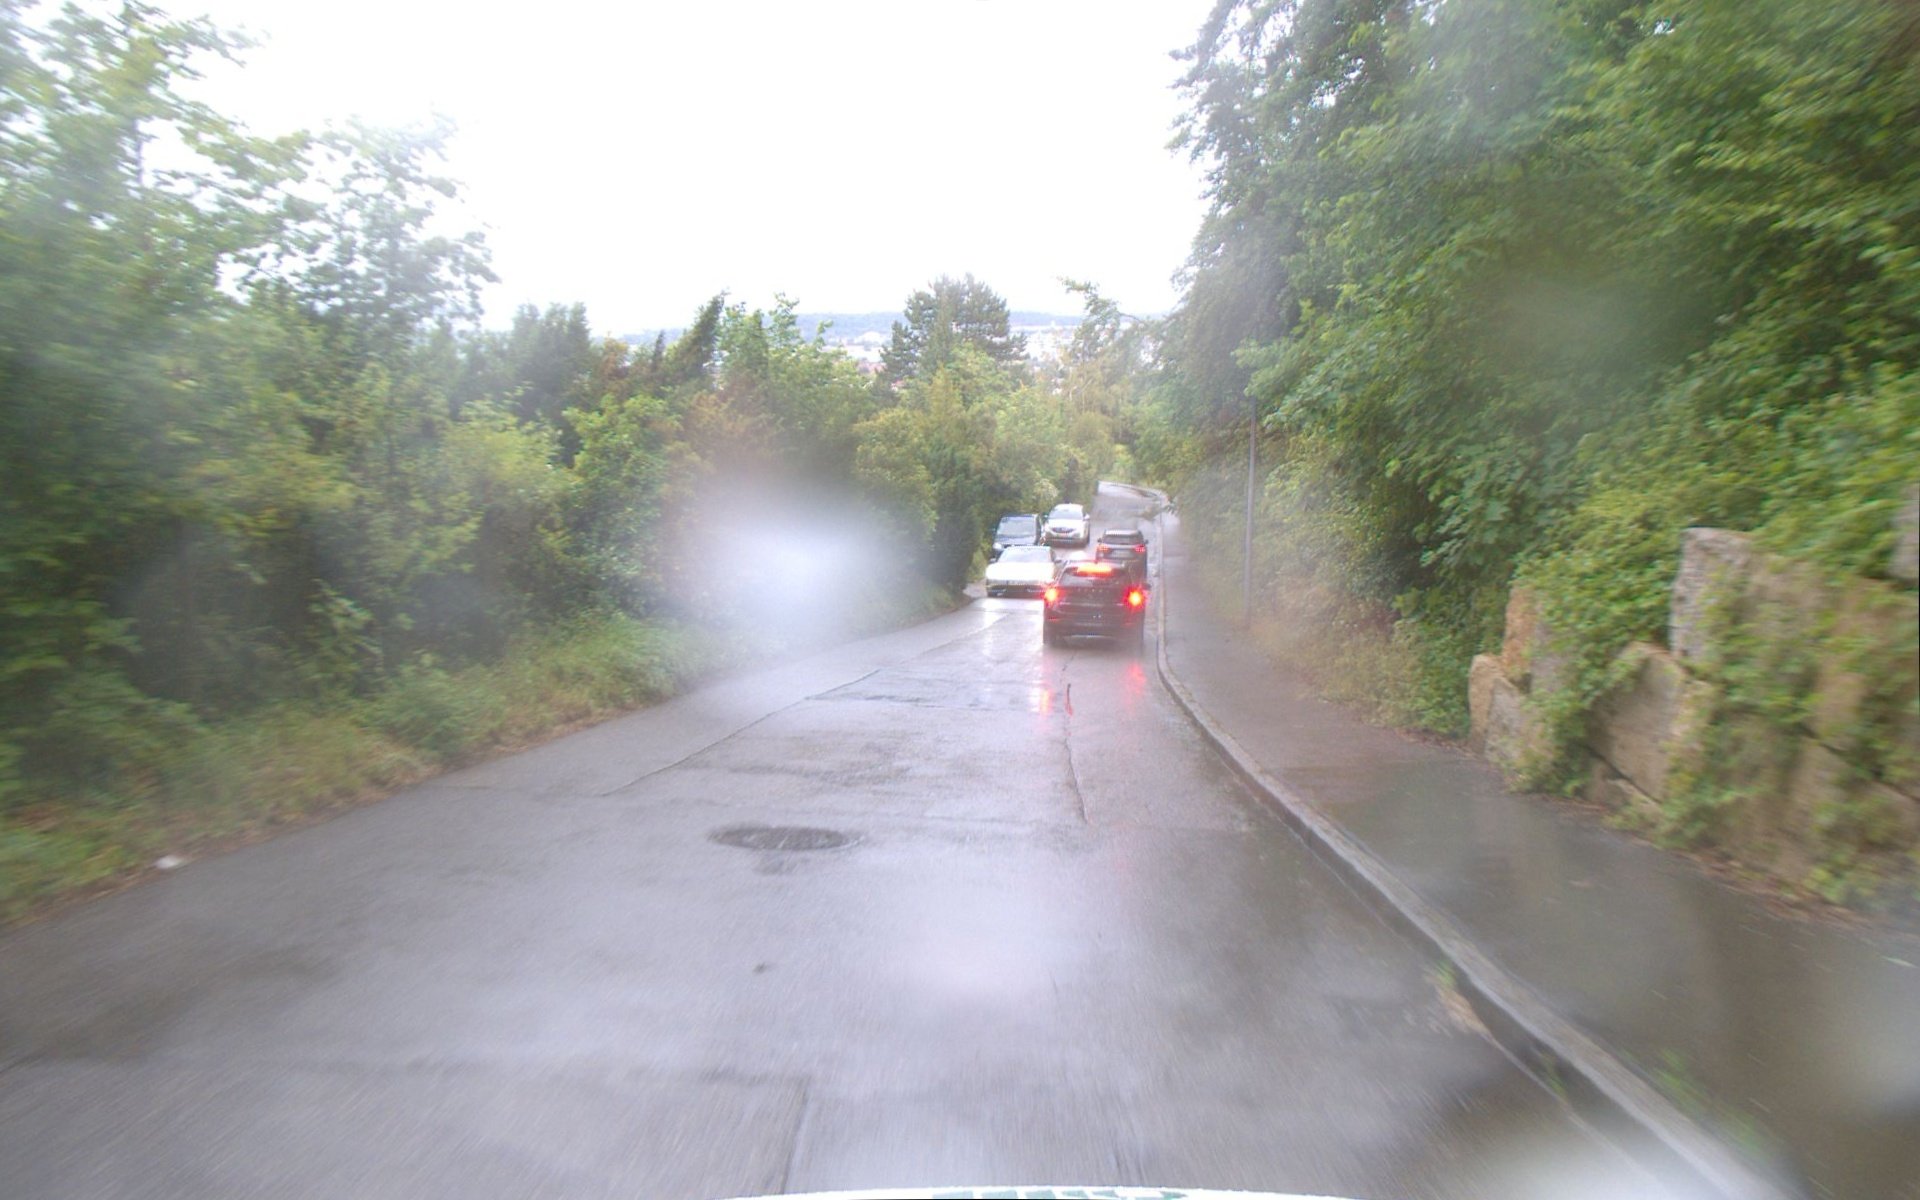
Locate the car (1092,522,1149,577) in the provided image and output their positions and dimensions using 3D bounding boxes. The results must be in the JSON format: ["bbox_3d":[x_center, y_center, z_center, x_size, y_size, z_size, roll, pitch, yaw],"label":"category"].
[{"bbox_3d":[5.596,-1.719,57.529,1.823,1.773,4.003,2,1,6],"label":"car"}]

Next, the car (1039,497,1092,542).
[{"bbox_3d":[4.614,-3.533,71.854,2.005,1.627,4.236,3,6,6],"label":"car"}]

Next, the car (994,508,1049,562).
[{"bbox_3d":[2.327,-2.470,62.065,1.653,1.813,4.239,1,5,8],"label":"car"}]

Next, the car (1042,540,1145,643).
[{"bbox_3d":[2.324,-0.209,29.199,1.664,1.474,4.005,1,5,4],"label":"car"}]

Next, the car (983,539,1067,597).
[{"bbox_3d":[1.942,-0.905,48.208,1.900,1.548,4.583,2,1,9],"label":"car"}]
